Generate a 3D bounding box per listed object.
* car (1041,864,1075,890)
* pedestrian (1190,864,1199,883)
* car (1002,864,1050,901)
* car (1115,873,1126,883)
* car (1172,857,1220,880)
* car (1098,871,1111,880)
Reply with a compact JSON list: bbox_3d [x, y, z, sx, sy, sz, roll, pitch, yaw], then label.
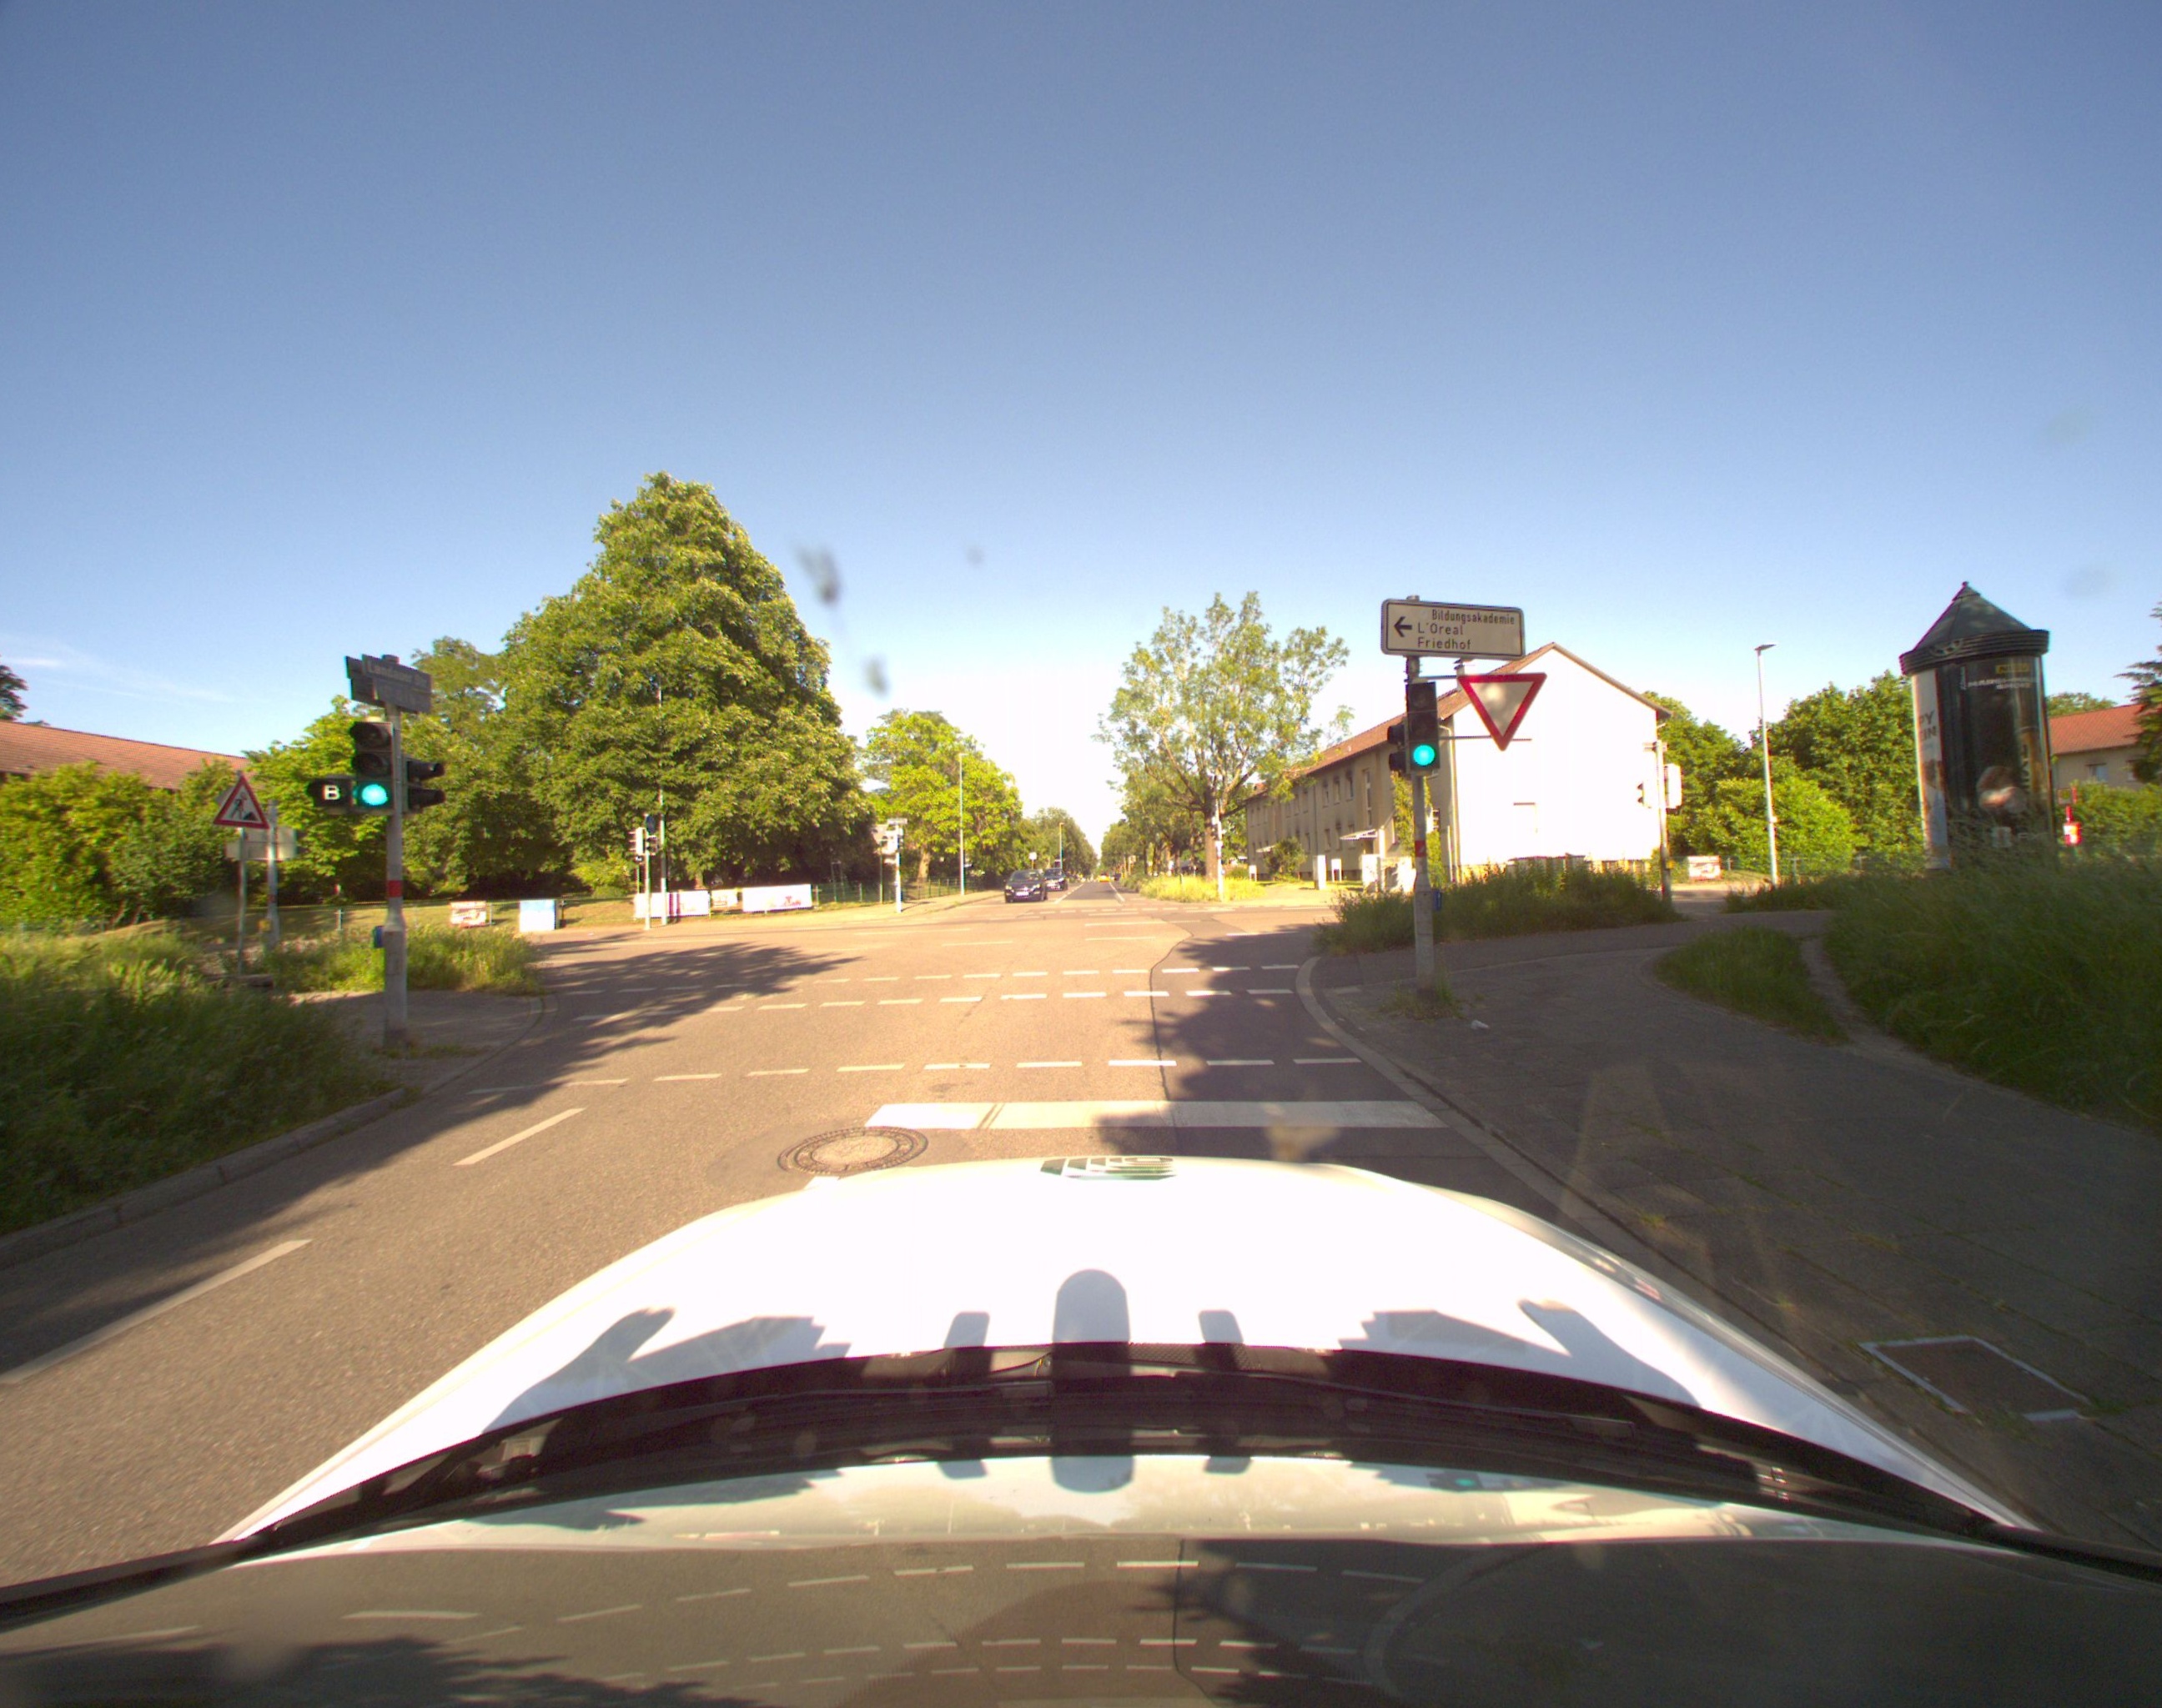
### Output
[{"bbox_3d":[-1.584,1.586,56.976,1.806,1.618,4.397,-4,-1,4],"label":"car"},{"bbox_3d":[10.745,1.838,77.102,0.635,1.706,0.612,-4,-1,0],"label":"pedestrian"},{"bbox_3d":[-2.421,1.289,36.718,1.800,1.455,3.850,-3,-2,0],"label":"car"},{"bbox_3d":[7.370,4.493,153.086,1.846,1.626,4.469,-3,-3,1],"label":"car"},{"bbox_3d":[14.326,1.822,101.894,5.582,2.539,2.263,-2,-1,-3],"label":"car"},{"bbox_3d":[4.053,3.759,140.040,1.883,1.479,3.884,0,-2,-2],"label":"car"}]
